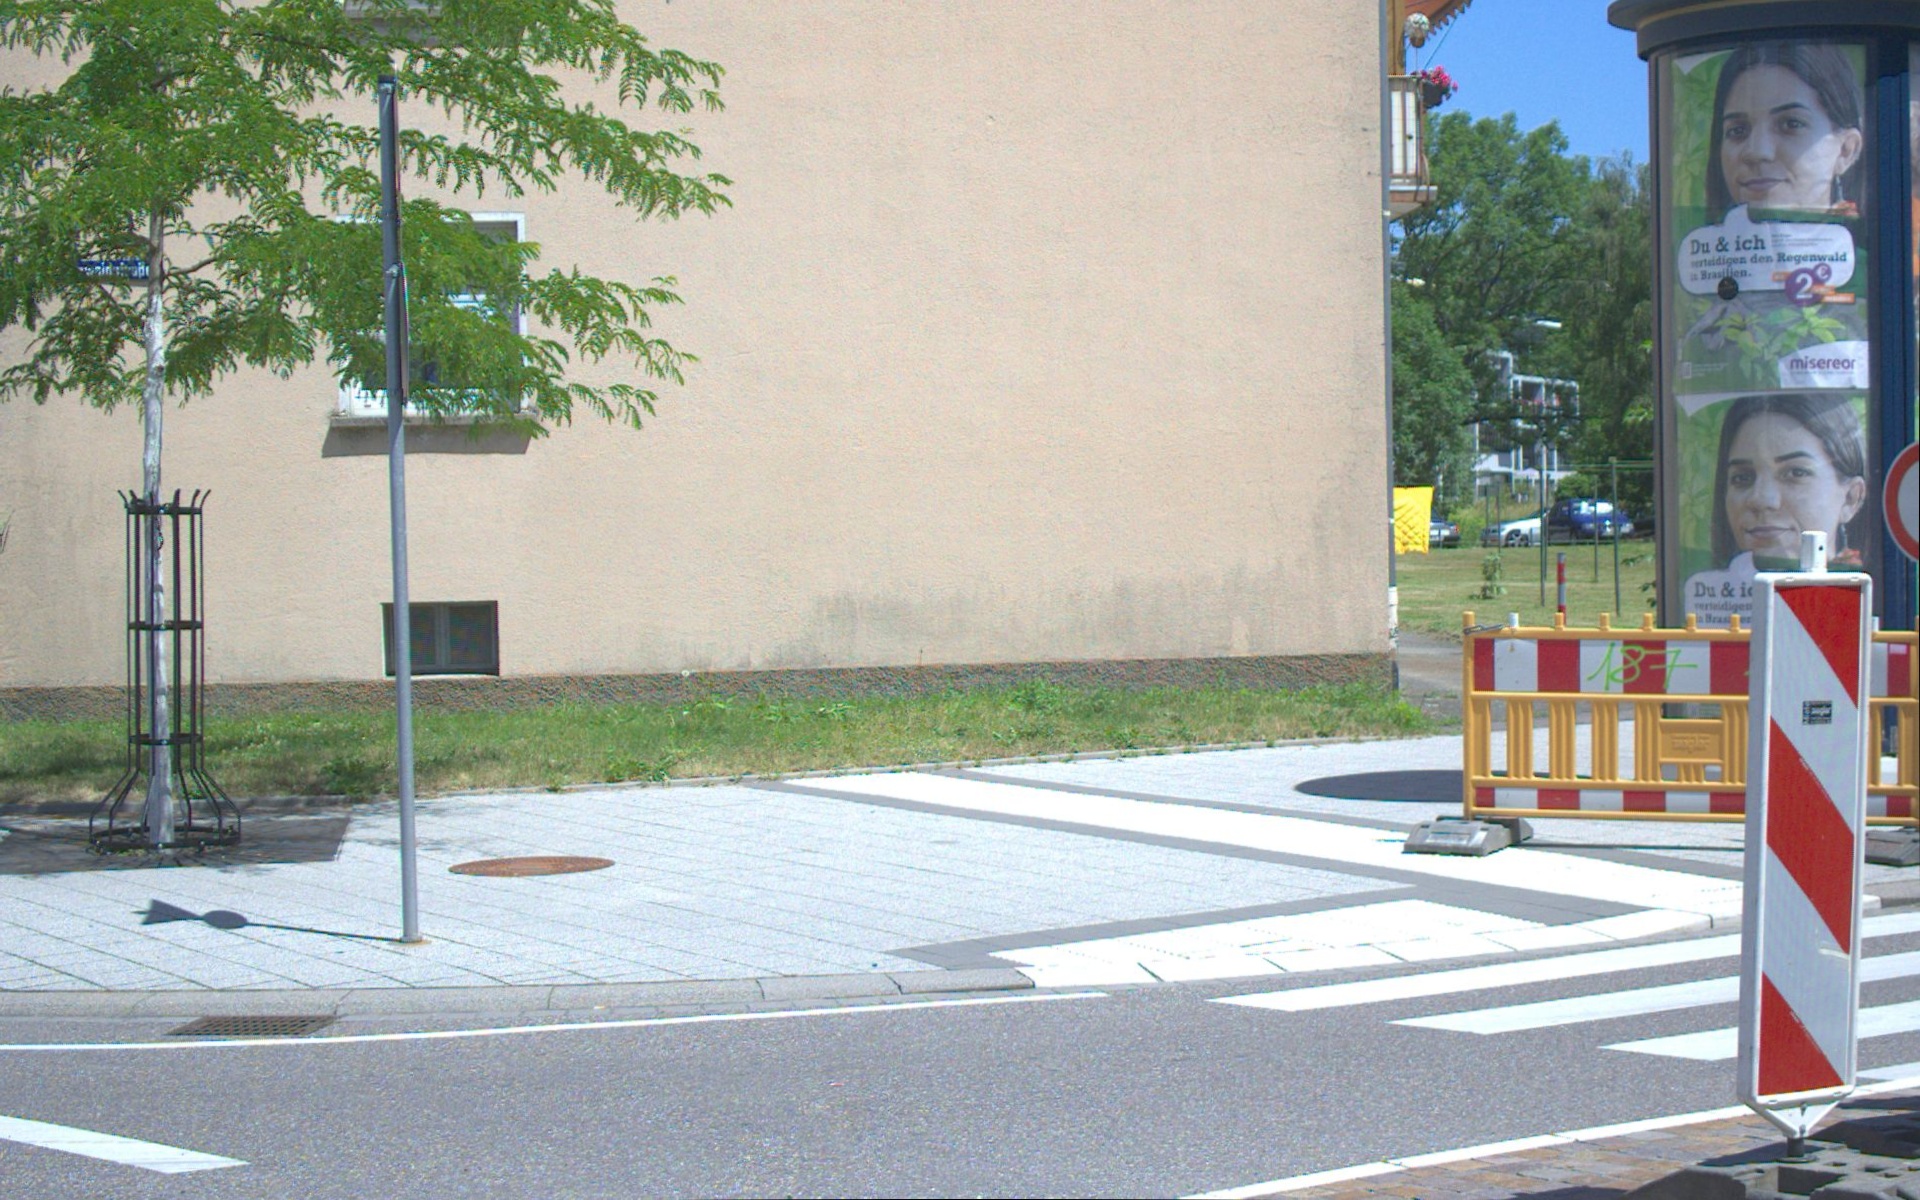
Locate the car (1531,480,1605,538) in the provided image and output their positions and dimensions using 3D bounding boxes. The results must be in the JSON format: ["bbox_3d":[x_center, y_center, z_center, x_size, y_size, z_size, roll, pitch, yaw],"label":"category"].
[{"bbox_3d":[16.074,-2.388,90.804,1.739,1.431,3.709,-2,1,12],"label":"car"}]
